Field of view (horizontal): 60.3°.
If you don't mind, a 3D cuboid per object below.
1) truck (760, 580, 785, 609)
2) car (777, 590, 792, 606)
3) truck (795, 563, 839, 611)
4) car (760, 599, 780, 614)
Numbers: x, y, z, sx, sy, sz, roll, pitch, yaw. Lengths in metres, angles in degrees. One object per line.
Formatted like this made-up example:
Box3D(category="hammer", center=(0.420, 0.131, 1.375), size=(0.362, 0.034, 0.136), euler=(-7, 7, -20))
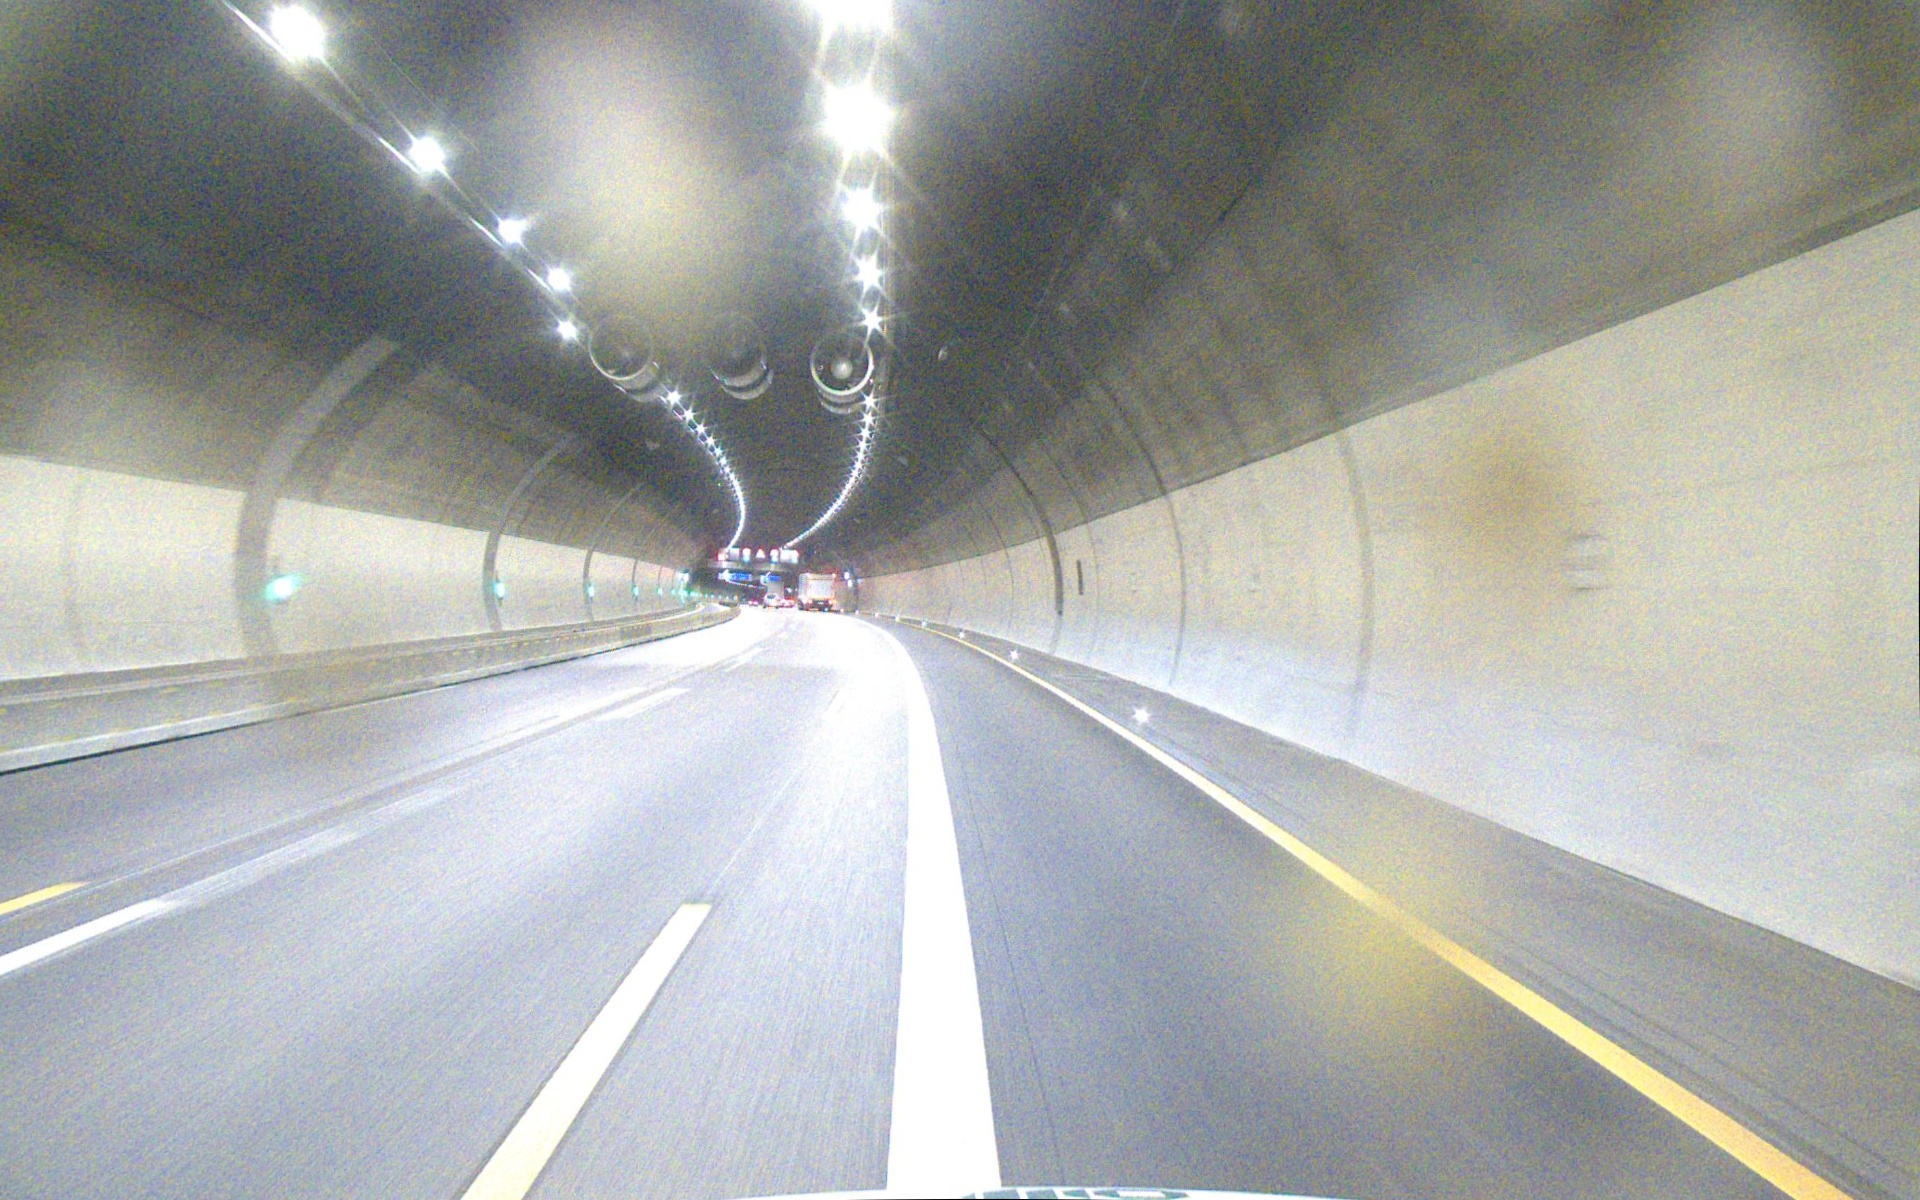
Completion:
Box3D(category="truck", center=(-29.165, -0.807, 256.966), size=(3.410, 4.392, 10.928), euler=(0, 0, -9))
Box3D(category="car", center=(-23.032, -0.215, 216.939), size=(1.956, 2.049, 3.994), euler=(0, 0, -7))
Box3D(category="truck", center=(-13.792, -1.277, 158.544), size=(3.410, 4.391, 10.928), euler=(1, 0, -9))
Box3D(category="car", center=(-21.108, 0.733, 183.444), size=(1.957, 1.609, 3.991), euler=(1, 0, -10))
